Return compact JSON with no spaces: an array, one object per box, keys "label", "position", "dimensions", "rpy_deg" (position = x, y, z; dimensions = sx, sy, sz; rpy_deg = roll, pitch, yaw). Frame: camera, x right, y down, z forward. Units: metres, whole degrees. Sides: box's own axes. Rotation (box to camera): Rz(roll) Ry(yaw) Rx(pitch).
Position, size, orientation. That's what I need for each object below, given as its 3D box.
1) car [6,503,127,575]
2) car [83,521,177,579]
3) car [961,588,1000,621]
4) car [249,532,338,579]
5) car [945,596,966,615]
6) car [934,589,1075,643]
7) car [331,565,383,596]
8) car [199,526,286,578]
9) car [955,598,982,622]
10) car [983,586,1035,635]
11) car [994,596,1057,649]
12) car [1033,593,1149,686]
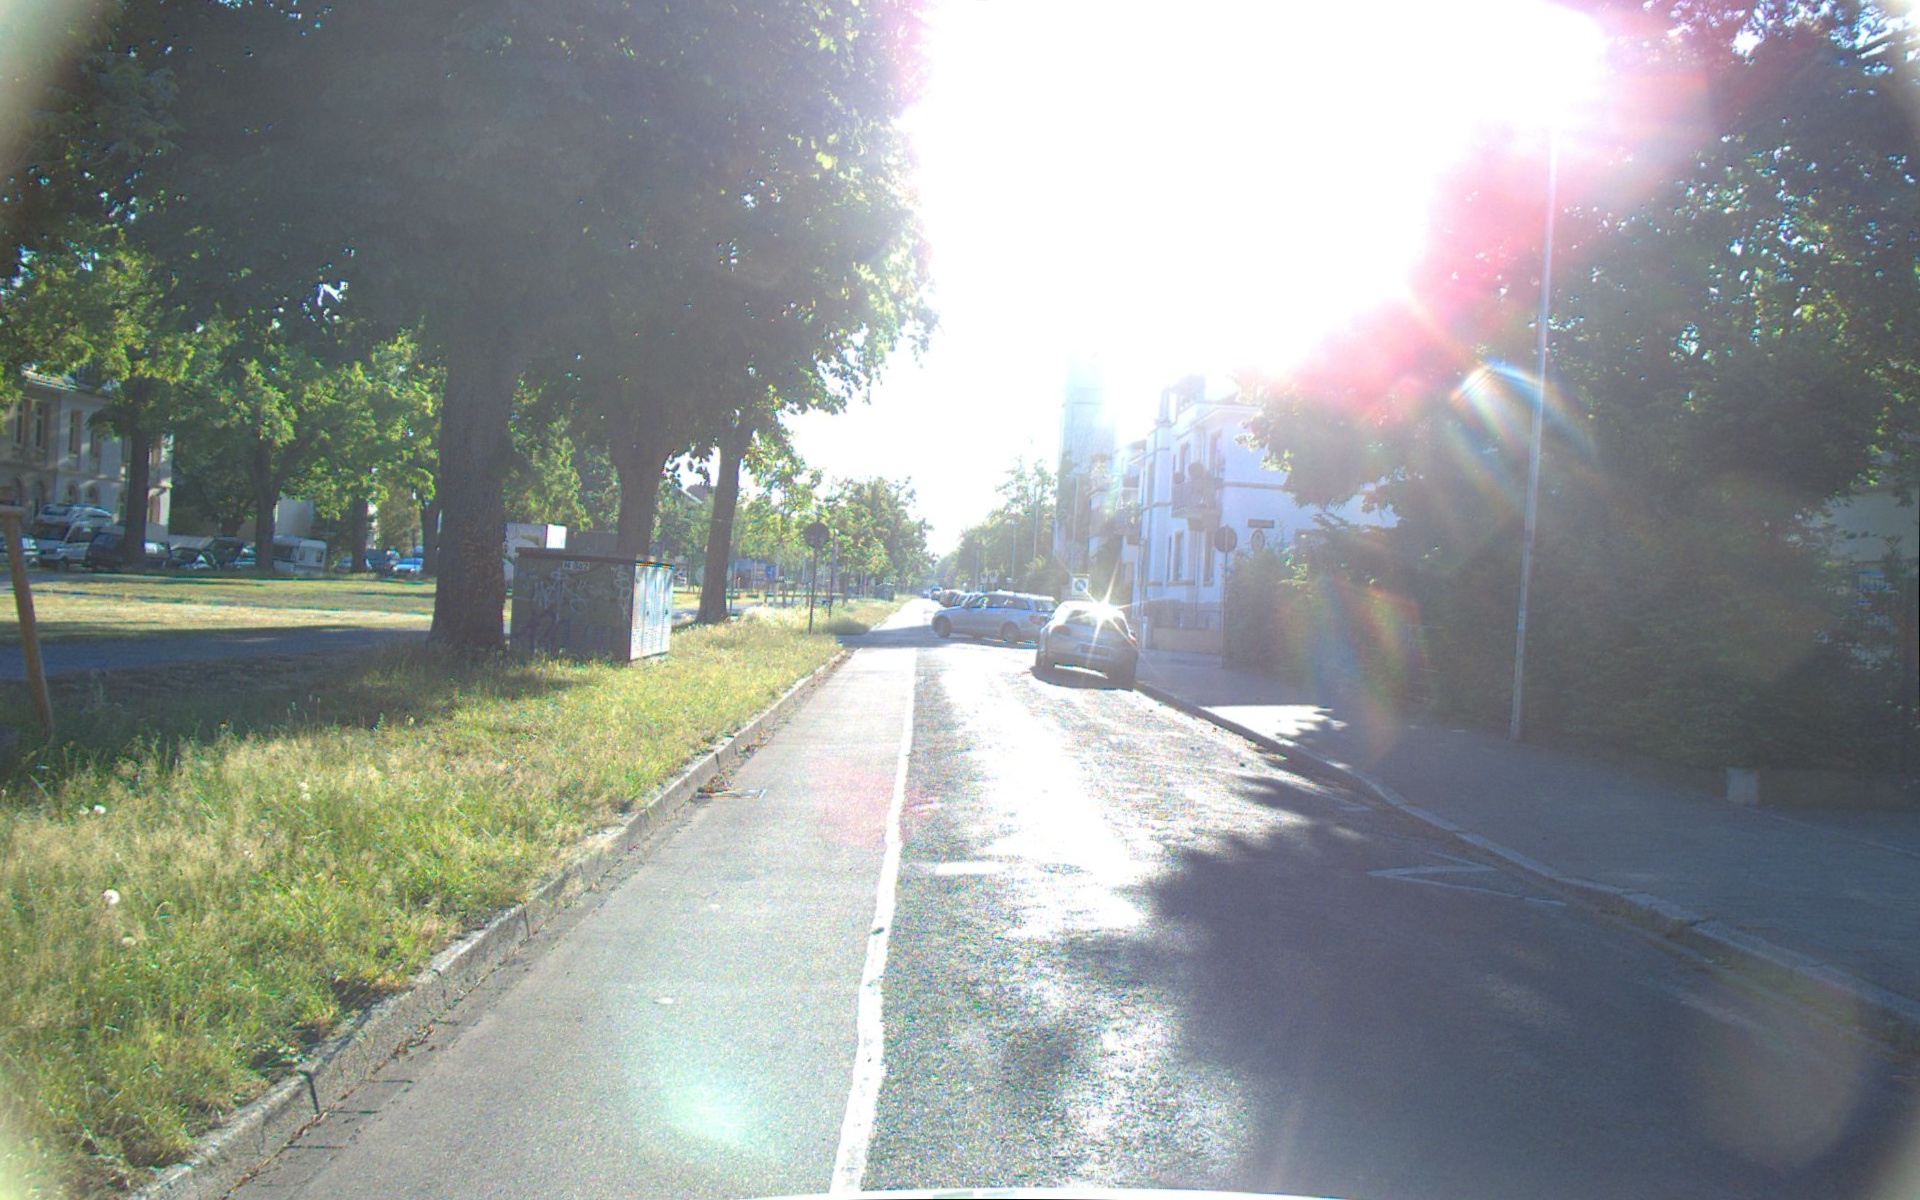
[{"label":"car","position":[-40.466,-2.698,75.104],"dimensions":[2.388,2.973,5.816],"rpy_deg":[1,0,-1]},{"label":"car","position":[-34.478,-2.057,68.814],"dimensions":[1.650,2.213,4.314],"rpy_deg":[3,0,0]},{"label":"car","position":[1.064,0.245,86.628],"dimensions":[1.726,1.547,3.998],"rpy_deg":[5,0,-2]},{"label":"car","position":[-35.001,-2.289,87.044],"dimensions":[2.483,2.275,5.458],"rpy_deg":[2,1,-1]},{"label":"car","position":[-0.416,0.528,157.912],"dimensions":[1.940,1.712,4.000],"rpy_deg":[3,0,0]},{"label":"car","position":[1.286,0.441,49.041],"dimensions":[3.925,1.445,1.758],"rpy_deg":[2,1,39]},{"label":"car","position":[-41.416,-1.330,113.709],"dimensions":[1.953,2.049,4.483],"rpy_deg":[1,0,-1]},{"label":"car","position":[-34.723,-2.296,80.169],"dimensions":[1.953,2.289,5.185],"rpy_deg":[3,0,-1]},{"label":"car","position":[0.609,0.731,123.449],"dimensions":[1.953,1.658,4.000],"rpy_deg":[3,0,0]},{"label":"car","position":[1.821,0.364,62.587],"dimensions":[1.651,1.679,4.098],"rpy_deg":[4,0,-1]},{"label":"car","position":[2.160,0.721,55.798],"dimensions":[1.723,1.633,4.357],"rpy_deg":[3,0,-2]},{"label":"car","position":[2.524,0.727,32.751],"dimensions":[1.723,1.443,4.071],"rpy_deg":[9,0,-1]}]
